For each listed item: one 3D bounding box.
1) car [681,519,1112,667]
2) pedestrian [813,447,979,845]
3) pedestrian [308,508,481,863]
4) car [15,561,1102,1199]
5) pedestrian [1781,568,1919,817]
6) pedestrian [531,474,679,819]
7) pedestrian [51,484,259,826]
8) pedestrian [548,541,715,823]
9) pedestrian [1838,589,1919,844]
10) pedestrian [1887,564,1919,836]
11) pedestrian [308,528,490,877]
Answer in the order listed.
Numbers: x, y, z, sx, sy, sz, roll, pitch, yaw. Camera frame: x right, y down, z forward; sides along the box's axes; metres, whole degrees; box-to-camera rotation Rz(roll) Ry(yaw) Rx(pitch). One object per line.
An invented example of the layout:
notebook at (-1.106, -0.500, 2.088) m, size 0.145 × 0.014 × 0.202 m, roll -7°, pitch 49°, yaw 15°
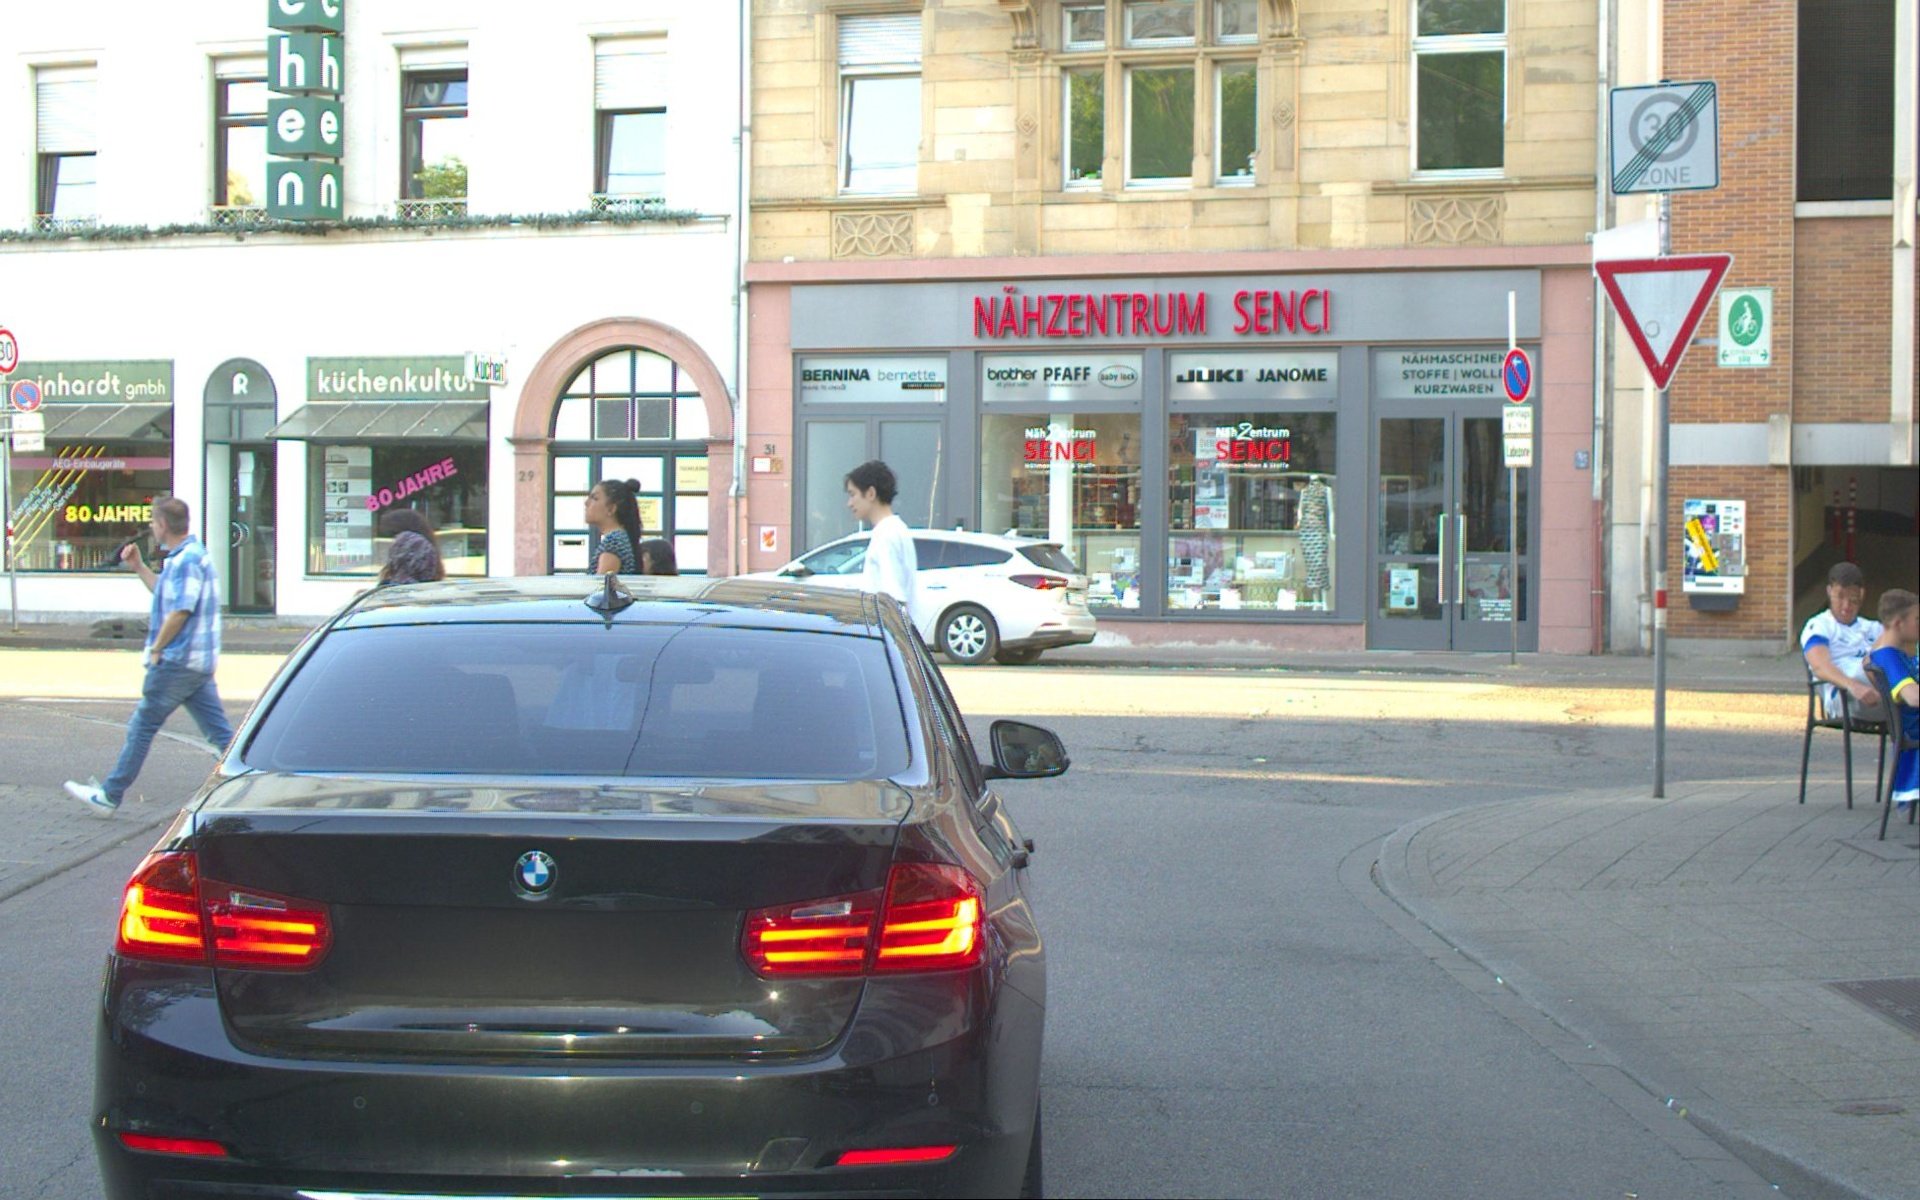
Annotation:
car at (-0.688, -0.097, 37.824) m, size 4.356 × 1.557 × 1.867 m, roll 1°, pitch 0°, yaw 20°
pedestrian at (-0.302, 0.211, 16.632) m, size 0.699 × 1.871 × 0.678 m, roll 1°, pitch 1°, yaw 4°
pedestrian at (-2.650, 0.388, 16.070) m, size 0.724 × 1.603 × 0.650 m, roll 2°, pitch 1°, yaw -11°
car at (-0.747, 0.652, 8.058) m, size 1.765 × 1.370 × 4.791 m, roll 1°, pitch 1°, yaw -2°
pedestrian at (4.636, 0.464, 17.802) m, size 0.617 × 1.250 × 0.735 m, roll 0°, pitch 1°, yaw 4°
pedestrian at (-1.817, 0.227, 17.650) m, size 0.667 × 1.740 × 0.606 m, roll 0°, pitch 1°, yaw 4°
pedestrian at (-4.203, 0.274, 17.974) m, size 0.895 × 1.719 × 0.607 m, roll 2°, pitch 3°, yaw 4°
pedestrian at (-1.748, 0.426, 18.347) m, size 0.815 × 1.469 × 0.606 m, roll 0°, pitch 1°, yaw 2°
pedestrian at (4.570, 0.530, 15.901) m, size 0.890 × 1.146 × 0.619 m, roll 0°, pitch 1°, yaw 5°
pedestrian at (4.852, 0.474, 16.593) m, size 0.617 × 1.279 × 0.659 m, roll 0°, pitch 1°, yaw 6°
pedestrian at (-2.518, 0.448, 15.391) m, size 0.735 × 1.508 × 0.650 m, roll 2°, pitch 1°, yaw -11°
